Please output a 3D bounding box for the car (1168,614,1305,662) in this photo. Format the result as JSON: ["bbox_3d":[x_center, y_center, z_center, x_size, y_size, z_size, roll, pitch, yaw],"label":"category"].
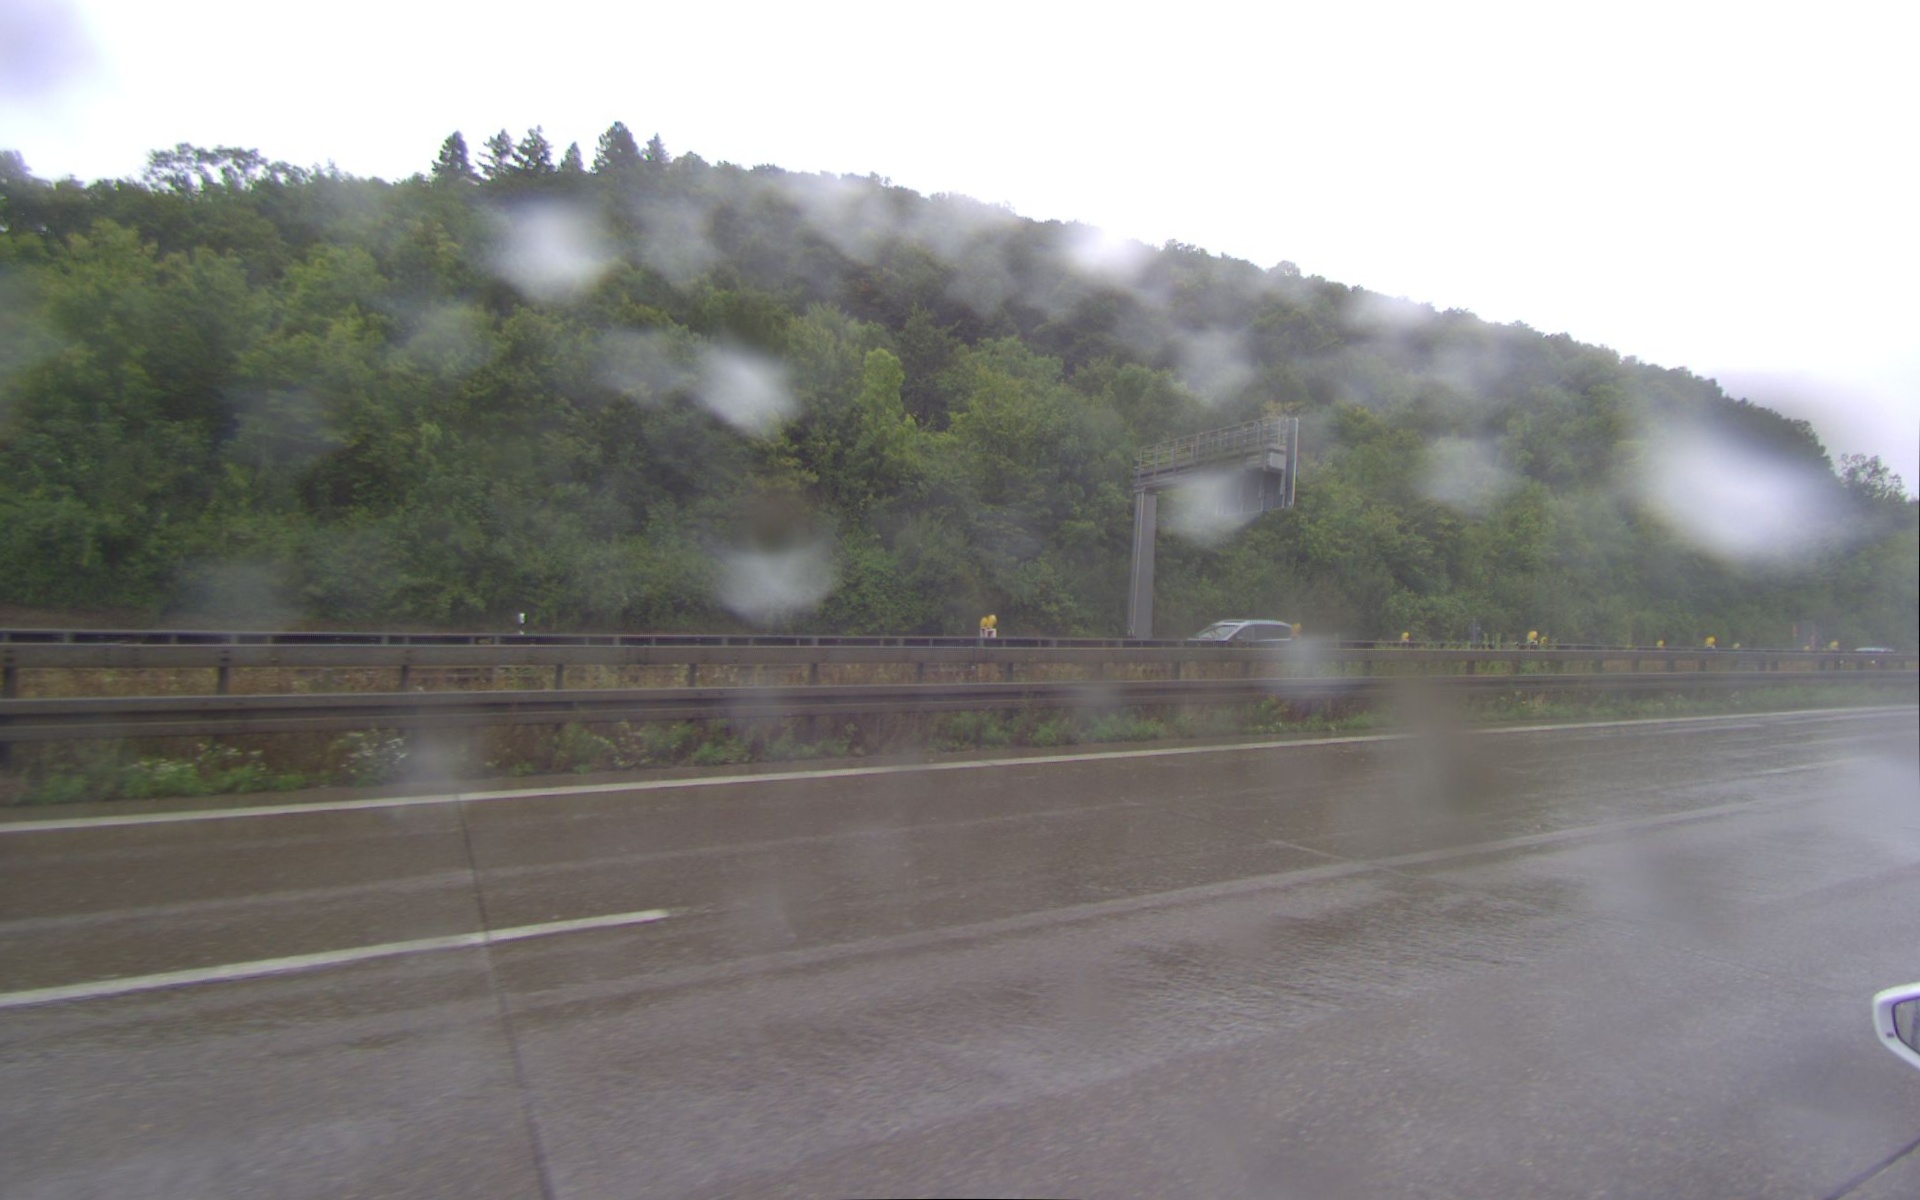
[{"bbox_3d":[8.984,1.233,32.550,4.465,1.453,1.659,2,-1,-30],"label":"car"}]
